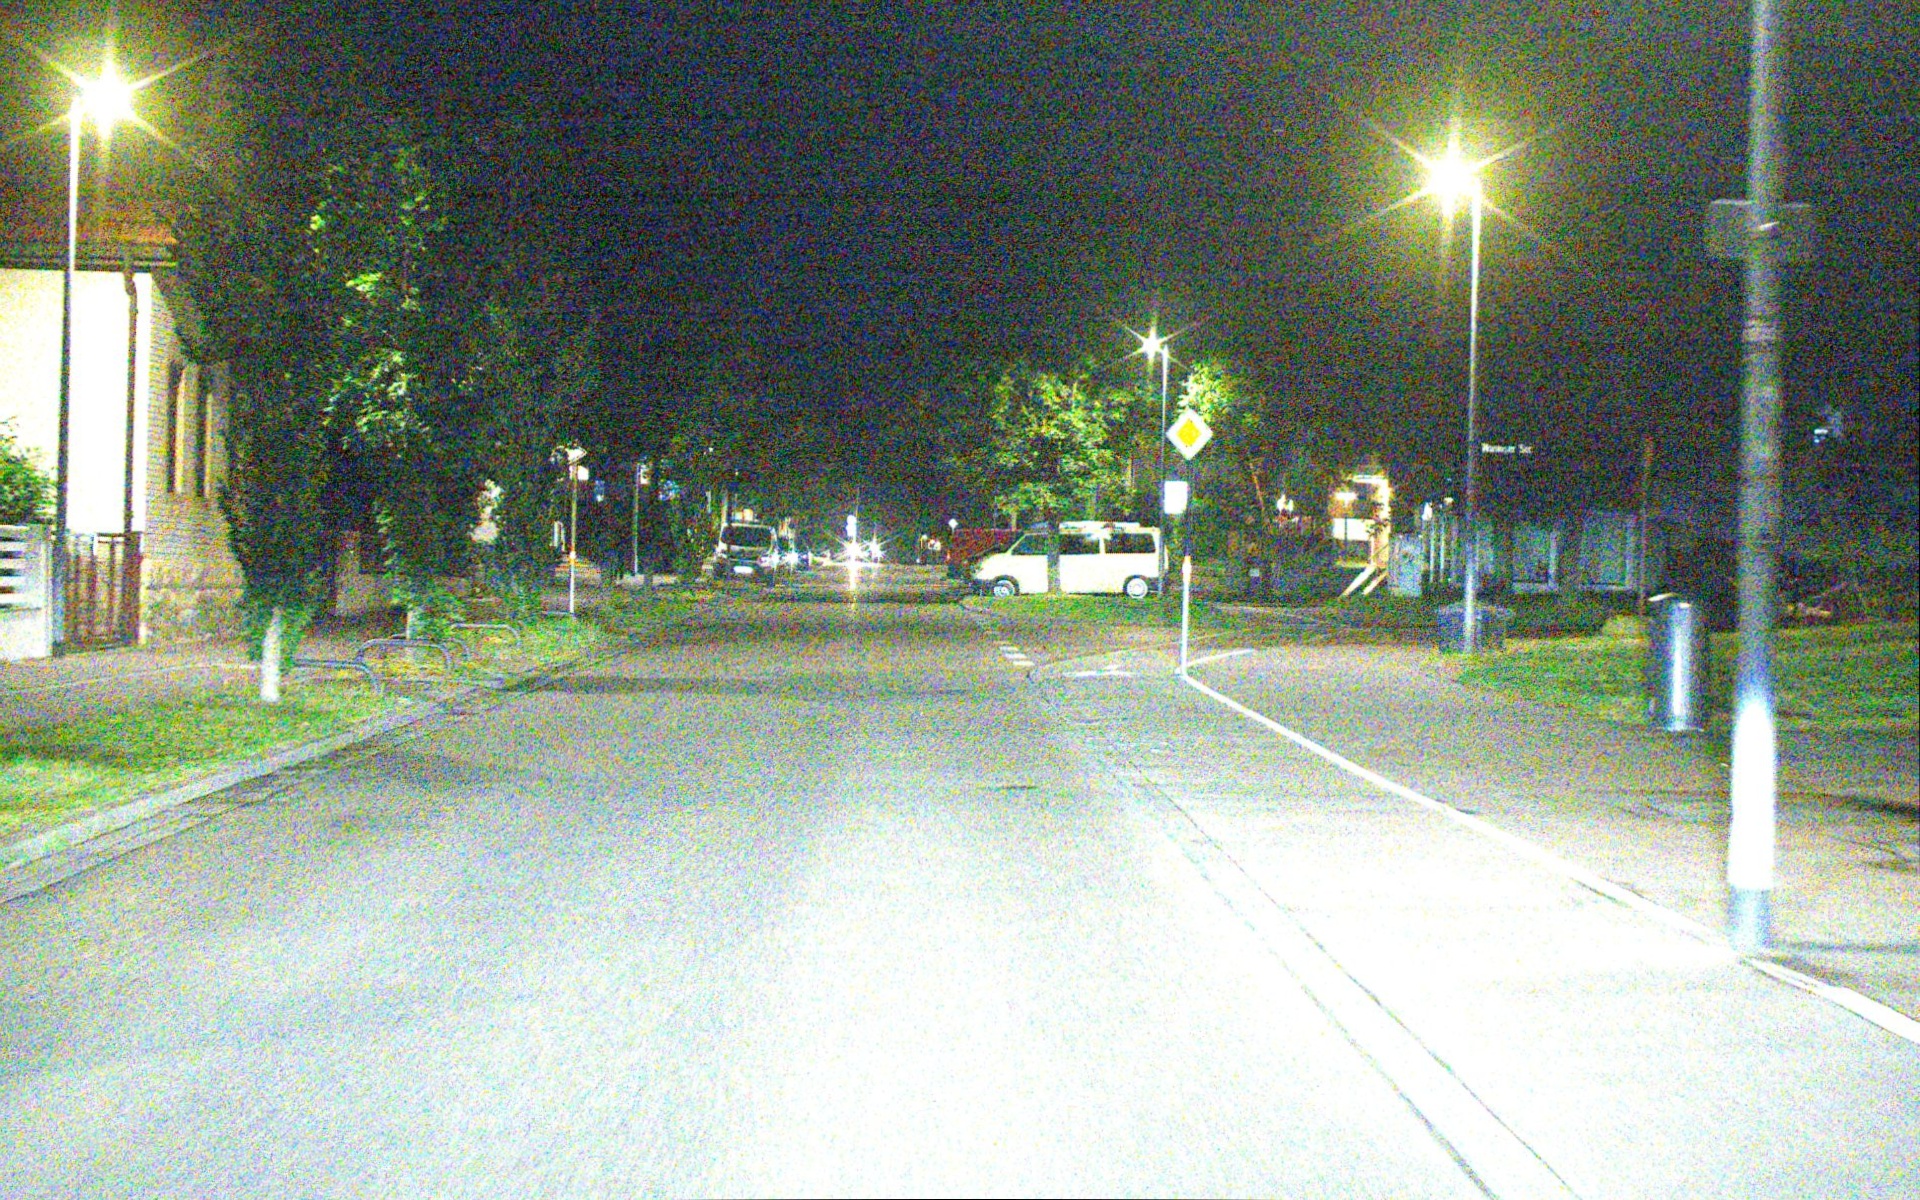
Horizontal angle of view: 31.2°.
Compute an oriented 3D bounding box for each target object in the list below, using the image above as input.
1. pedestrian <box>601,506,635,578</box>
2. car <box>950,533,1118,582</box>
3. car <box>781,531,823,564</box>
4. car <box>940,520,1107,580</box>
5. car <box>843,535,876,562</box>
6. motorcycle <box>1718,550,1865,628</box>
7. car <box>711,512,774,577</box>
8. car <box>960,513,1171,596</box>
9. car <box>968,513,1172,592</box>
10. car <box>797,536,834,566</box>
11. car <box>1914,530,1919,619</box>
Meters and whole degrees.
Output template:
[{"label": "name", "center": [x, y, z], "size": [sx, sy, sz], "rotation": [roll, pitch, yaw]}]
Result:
[{"label": "pedestrian", "center": [-9.730, -1.656, 97.719], "size": [0.785, 2.007, 1.204], "rotation": [2, 1, -1]}, {"label": "car", "center": [2.322, -1.358, 108.787], "size": [5.182, 1.464, 2.102], "rotation": [-1, 1, -2]}, {"label": "car", "center": [-6.552, -2.173, 142.786], "size": [1.683, 1.326, 3.600], "rotation": [1, 1, -2]}, {"label": "car", "center": [2.077, -1.632, 111.502], "size": [5.184, 1.880, 2.101], "rotation": [0, 1, 9]}, {"label": "car", "center": [-6.040, -3.104, 206.901], "size": [1.927, 1.643, 3.822], "rotation": [0, 1, -2]}, {"label": "motorcycle", "center": [13.475, -0.178, 55.696], "size": [2.258, 1.210, 0.711], "rotation": [-1, 1, -16]}, {"label": "car", "center": [-6.946, -1.785, 110.338], "size": [1.824, 1.980, 4.466], "rotation": [3, 1, -2]}, {"label": "car", "center": [2.633, -1.160, 86.690], "size": [5.182, 2.007, 2.102], "rotation": [-1, 1, -2]}, {"label": "car", "center": [2.847, -1.252, 89.803], "size": [5.182, 2.007, 2.102], "rotation": [-1, 1, -2]}, {"label": "car", "center": [-6.712, -2.280, 159.534], "size": [1.683, 1.326, 3.600], "rotation": [1, 1, -2]}, {"label": "car", "center": [17.802, -0.437, 56.550], "size": [3.618, 1.474, 1.865], "rotation": [-1, 2, -16]}]
